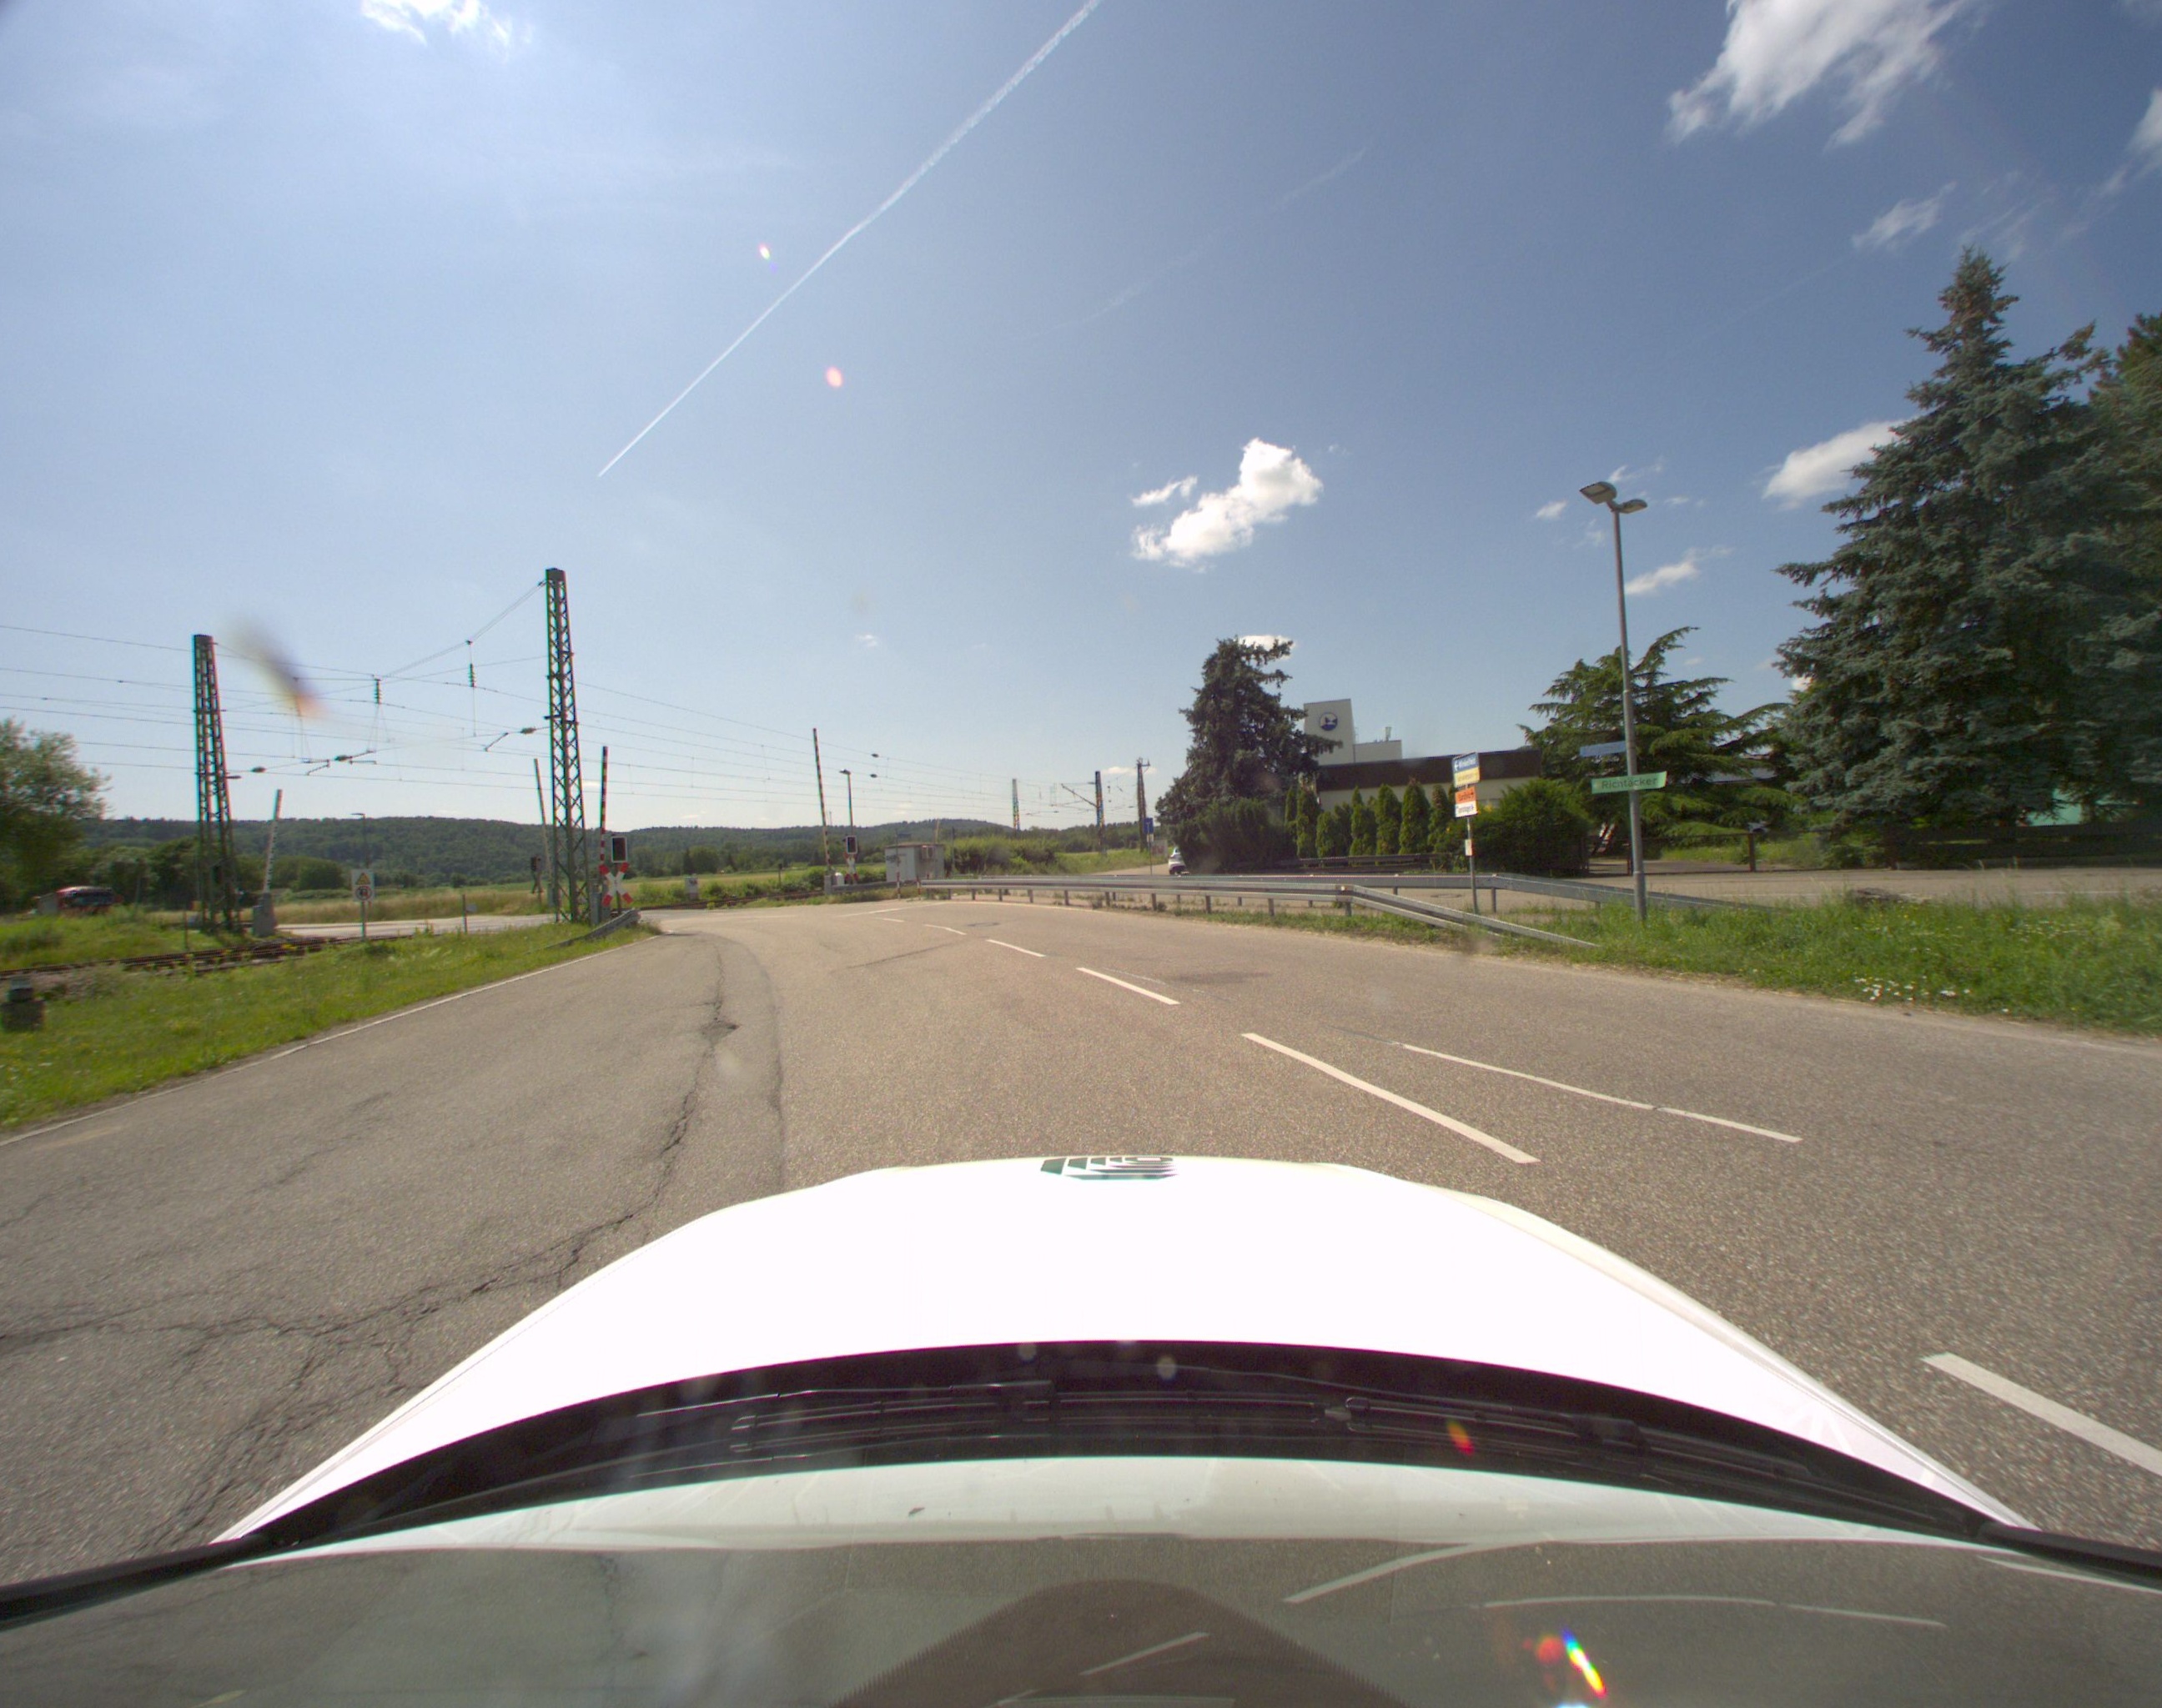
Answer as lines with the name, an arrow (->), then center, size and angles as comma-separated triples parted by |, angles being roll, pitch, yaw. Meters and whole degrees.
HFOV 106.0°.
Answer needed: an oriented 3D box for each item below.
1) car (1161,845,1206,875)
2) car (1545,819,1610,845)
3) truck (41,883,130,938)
car -> 6.046, 0.337, 47.733 | 1.979, 1.509, 4.472 | -3, 1, 14
car -> 34.644, -1.523, 56.894 | 3.497, 1.585, 1.572 | -3, 1, 16
truck -> -75.561, 4.335, 61.727 | 11.990, 3.745, 2.900 | -4, 0, 33
